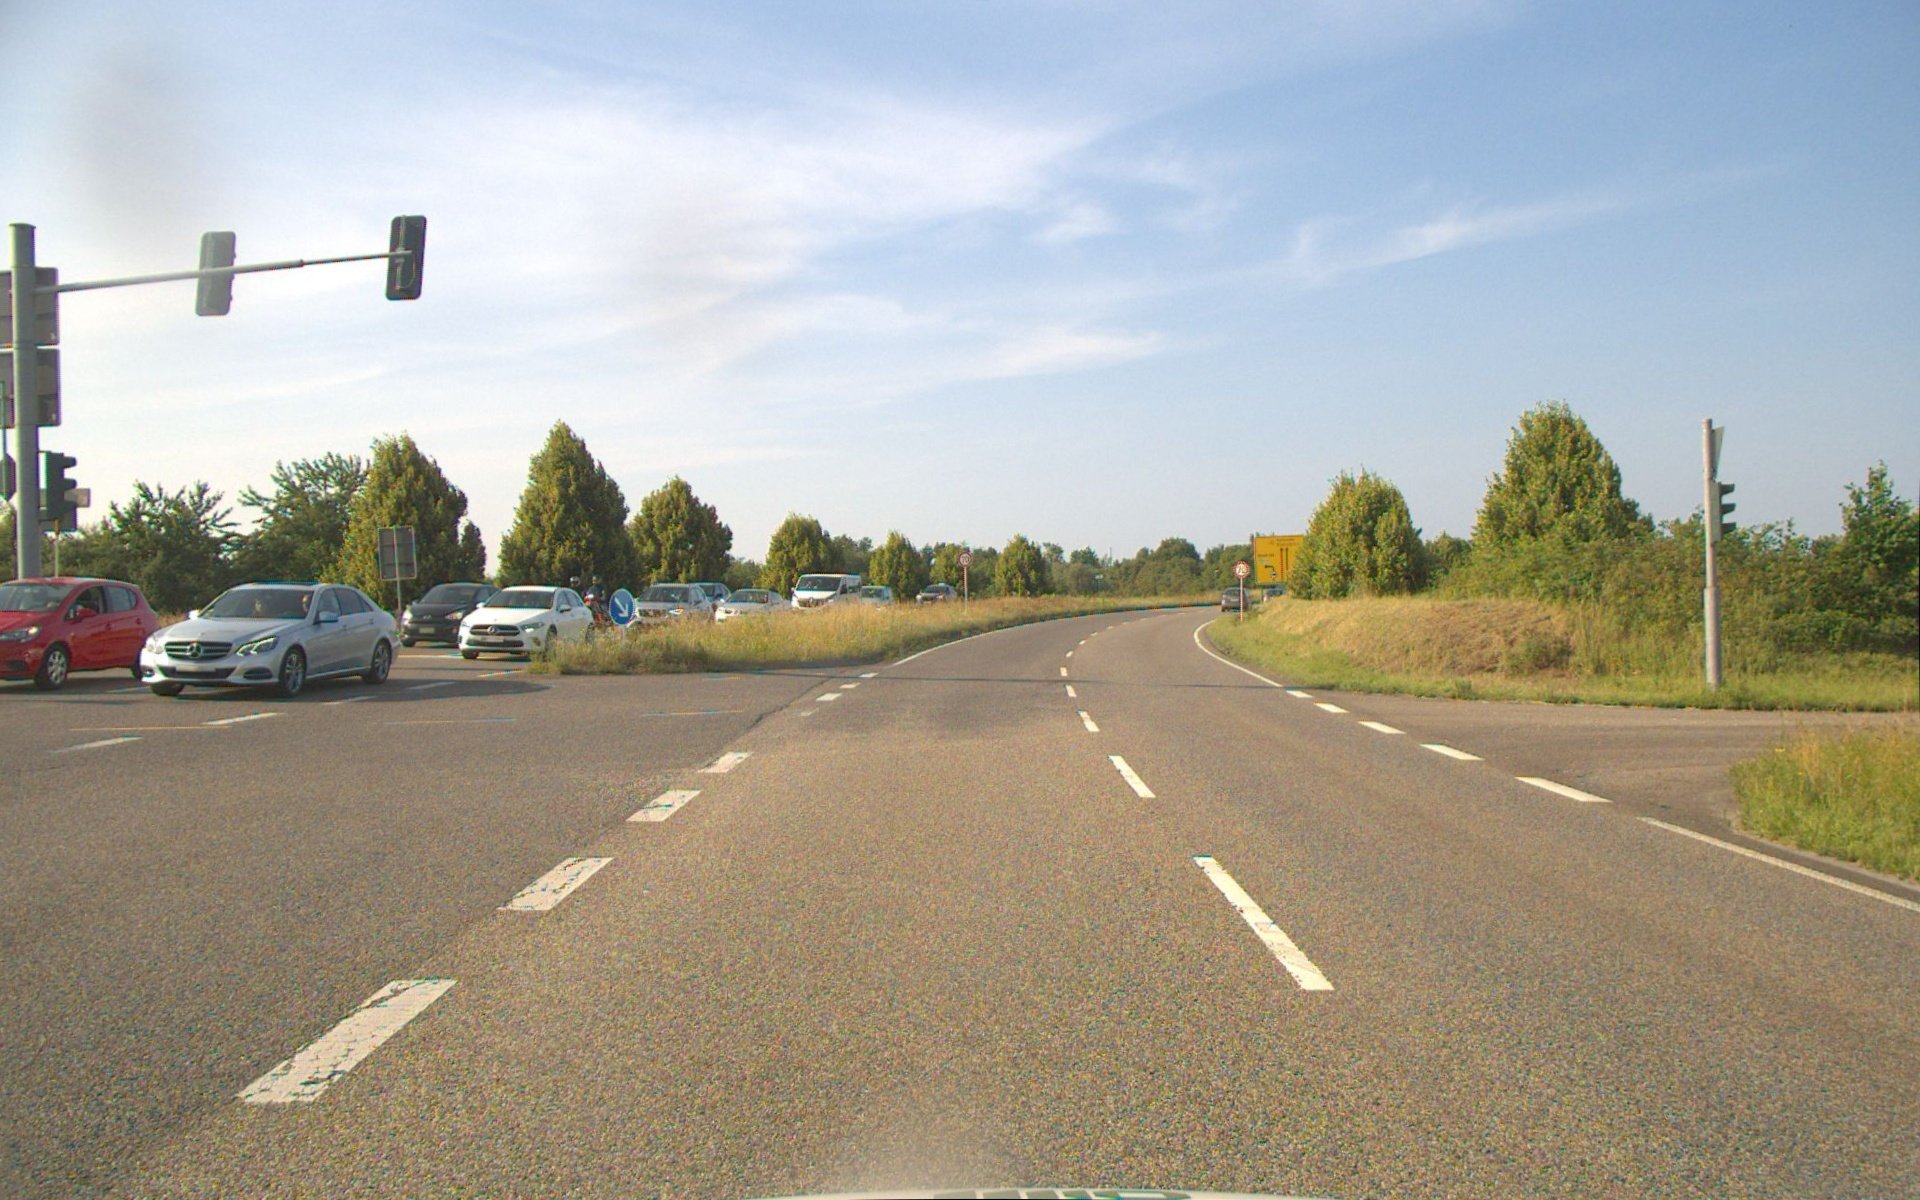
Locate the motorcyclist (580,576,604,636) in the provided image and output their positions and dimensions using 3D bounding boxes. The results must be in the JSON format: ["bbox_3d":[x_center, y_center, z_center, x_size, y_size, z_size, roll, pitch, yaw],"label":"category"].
[{"bbox_3d":[-11.453,0.184,51.488,0.649,1.849,0.605,0,0,-4],"label":"motorcyclist"}]

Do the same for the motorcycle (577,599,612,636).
[{"bbox_3d":[-11.343,0.541,51.333,0.855,1.116,1.298,0,0,-3],"label":"motorcycle"}]

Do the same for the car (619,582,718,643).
[{"bbox_3d":[-7.919,0.320,45.214,1.748,1.596,4.053,-1,0,4],"label":"car"}]

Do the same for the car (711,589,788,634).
[{"bbox_3d":[-6.788,0.361,53.782,1.748,1.410,4.053,-1,0,4],"label":"car"}]

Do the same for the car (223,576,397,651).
[{"bbox_3d":[-16.143,0.308,41.265,1.804,1.757,4.000,0,0,22],"label":"car"}]

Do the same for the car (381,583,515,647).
[{"bbox_3d":[-12.242,0.340,39.802,1.748,1.458,4.053,-1,0,4],"label":"car"}]

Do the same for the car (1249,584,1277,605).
[{"bbox_3d":[23.893,-0.407,130.373,1.771,1.593,4.534,0,0,16],"label":"car"}]

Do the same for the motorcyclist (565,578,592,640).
[{"bbox_3d":[-11.008,0.253,47.767,0.649,1.778,0.605,0,0,-4],"label":"motorcyclist"}]

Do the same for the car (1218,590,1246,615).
[{"bbox_3d":[18.353,0.186,111.803,1.746,1.633,4.199,0,-1,8],"label":"car"}]

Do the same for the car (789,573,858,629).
[{"bbox_3d":[-5.304,0.036,64.844,1.884,2.114,4.246,-1,0,7],"label":"car"}]

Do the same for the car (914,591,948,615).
[{"bbox_3d":[-1.749,0.166,100.755,1.375,1.426,3.425,-1,0,12],"label":"car"}]

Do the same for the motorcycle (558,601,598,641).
[{"bbox_3d":[-11.024,0.592,47.801,0.855,1.116,1.468,0,0,-3],"label":"motorcycle"}]

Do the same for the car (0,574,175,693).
[{"bbox_3d":[-12.699,0.426,22.970,1.685,1.514,3.805,-1,0,1],"label":"car"}]

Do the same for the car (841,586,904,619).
[{"bbox_3d":[-3.845,0.112,73.264,1.748,1.410,4.055,-1,0,13],"label":"car"}]

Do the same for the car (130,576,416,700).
[{"bbox_3d":[-9.265,0.462,22.762,1.748,1.514,4.653,-1,0,4],"label":"car"}]

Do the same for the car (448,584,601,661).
[{"bbox_3d":[-8.819,0.425,33.829,1.748,1.458,4.311,-1,0,4],"label":"car"}]
